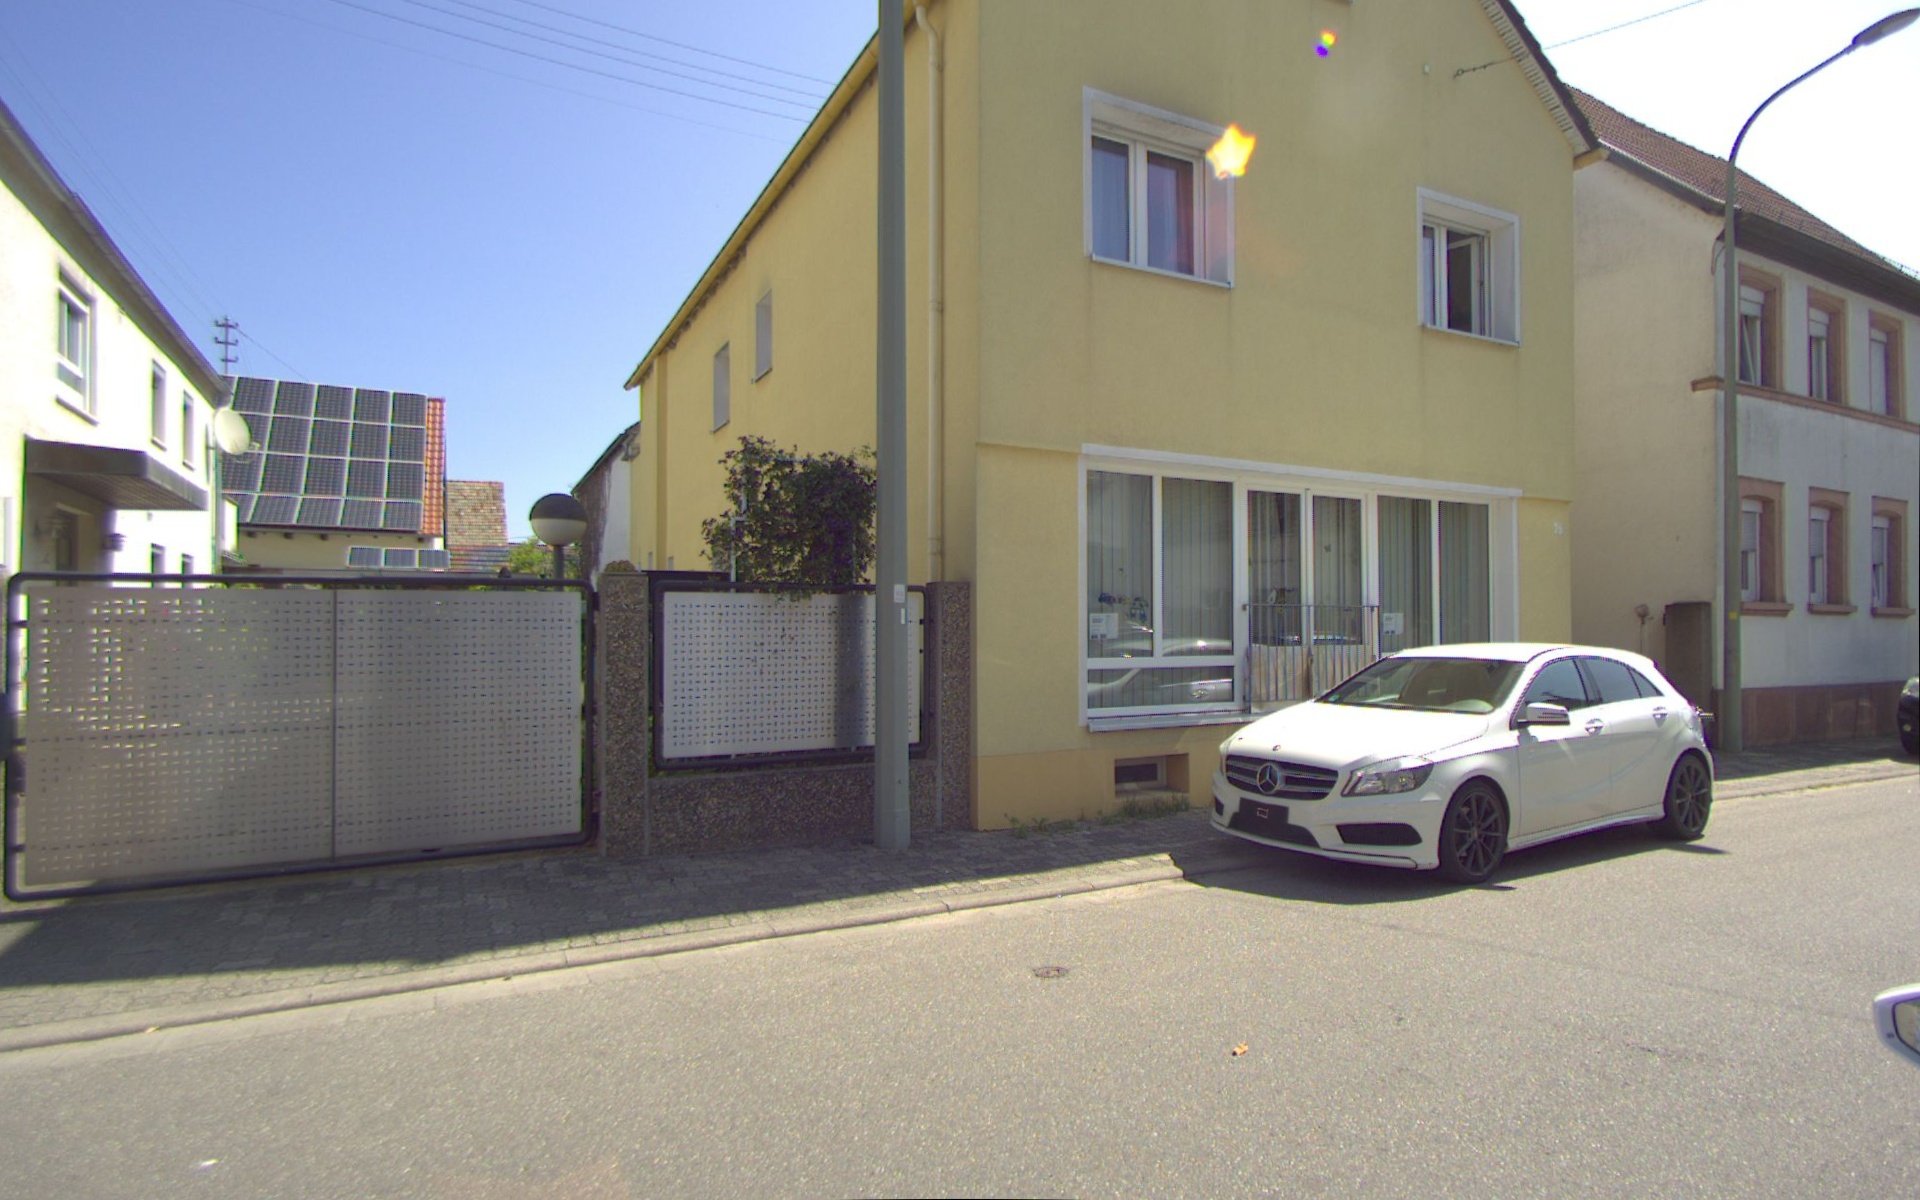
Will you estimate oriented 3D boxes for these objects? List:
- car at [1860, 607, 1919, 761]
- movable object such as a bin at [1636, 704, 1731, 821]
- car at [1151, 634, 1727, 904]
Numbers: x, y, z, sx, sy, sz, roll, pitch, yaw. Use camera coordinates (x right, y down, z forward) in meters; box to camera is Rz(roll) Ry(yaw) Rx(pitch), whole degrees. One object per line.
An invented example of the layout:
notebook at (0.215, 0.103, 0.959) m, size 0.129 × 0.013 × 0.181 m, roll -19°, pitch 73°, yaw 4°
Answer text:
car at (13.636, 1.028, 12.773) m, size 4.297 × 1.861 × 1.828 m, roll 1°, pitch -2°, yaw -27°
movable object such as a bin at (6.062, 1.347, 8.433) m, size 0.487 × 0.916 × 0.426 m, roll 0°, pitch -1°, yaw -9°
car at (3.629, 1.003, 7.440) m, size 4.222 × 1.483 × 1.826 m, roll 1°, pitch -3°, yaw -31°
